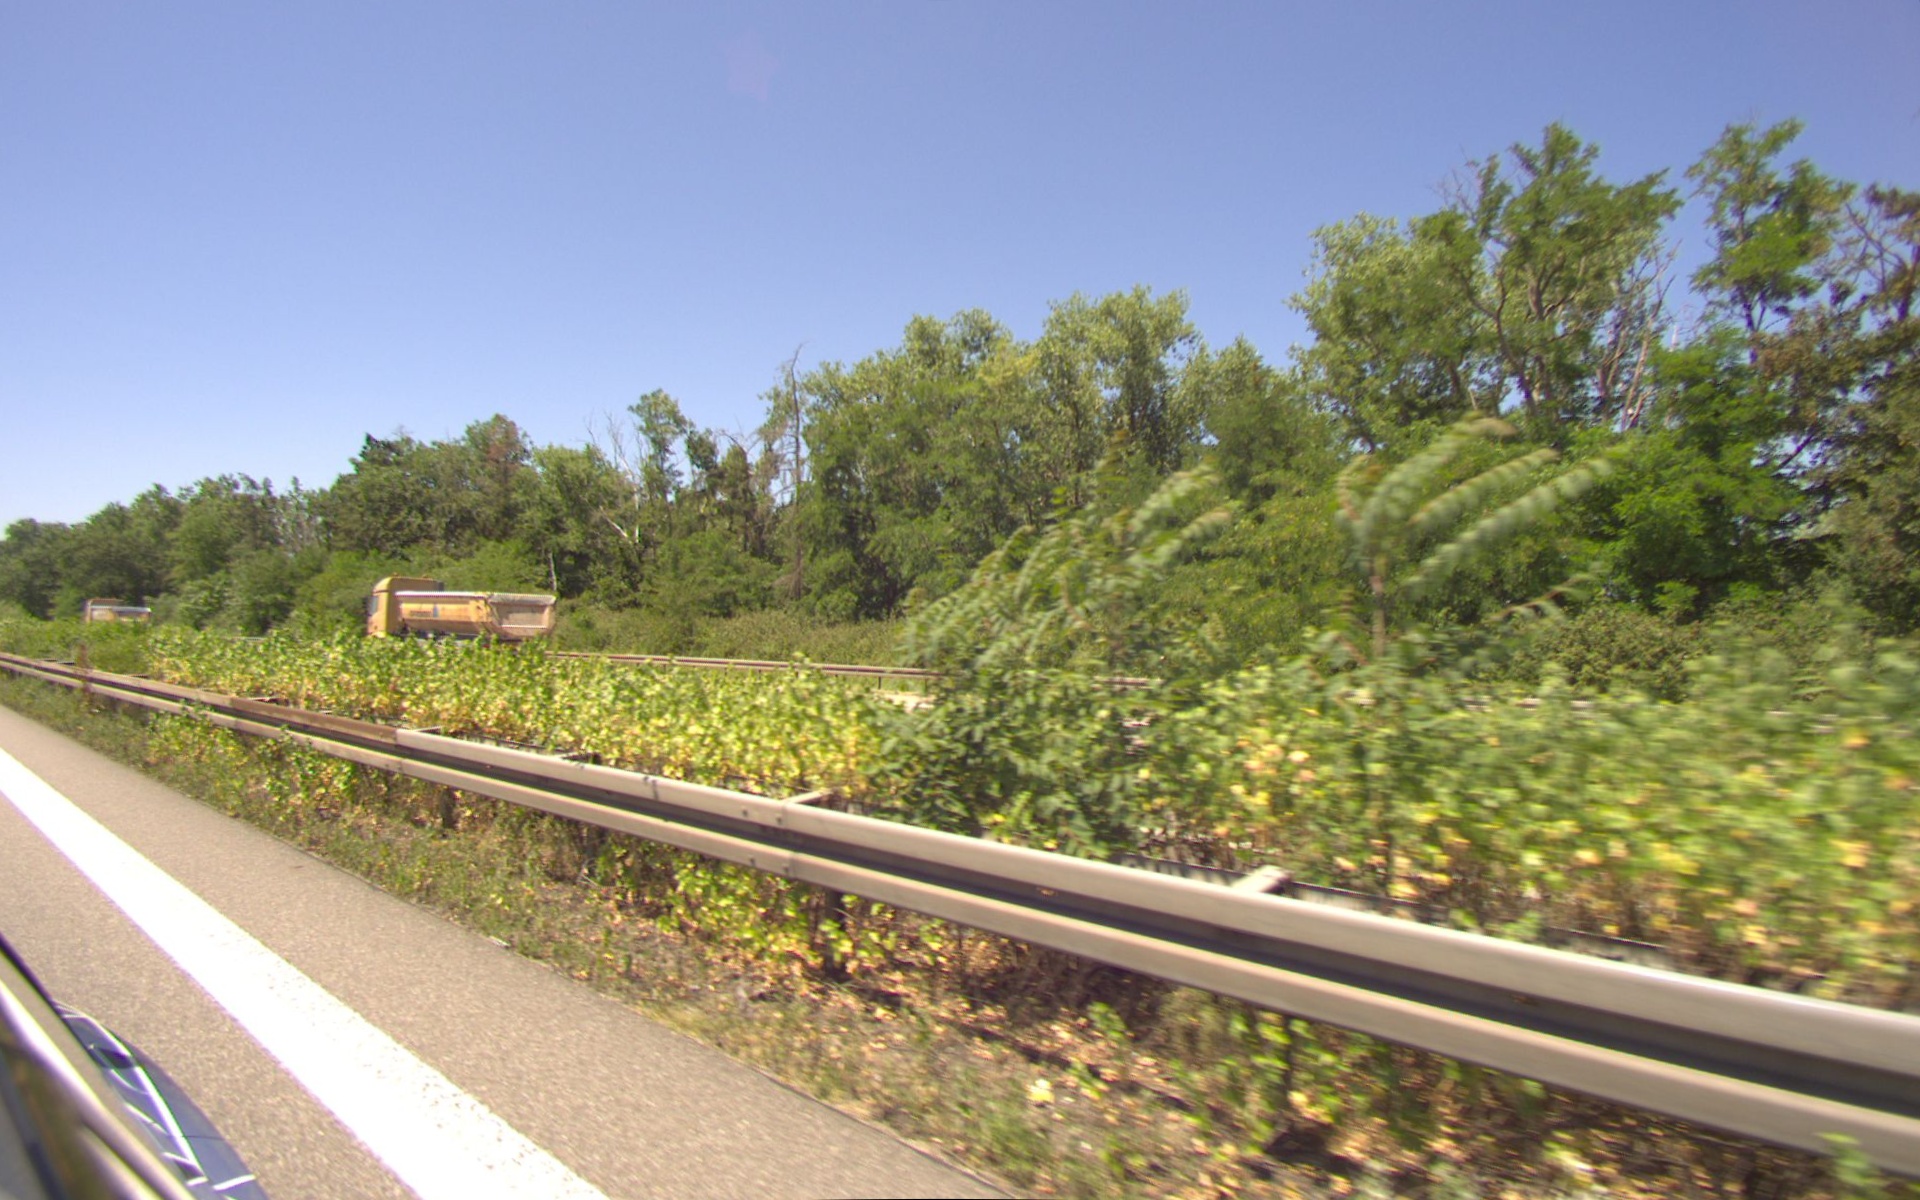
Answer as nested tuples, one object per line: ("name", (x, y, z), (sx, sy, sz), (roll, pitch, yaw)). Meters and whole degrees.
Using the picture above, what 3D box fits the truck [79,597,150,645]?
("truck", (-69.455, 1.744, 83.053), (11.839, 3.662, 2.512), (-1, -4, 41))

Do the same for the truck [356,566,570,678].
("truck", (-19.288, 0.911, 38.693), (11.893, 3.734, 2.869), (-1, -4, 41))
